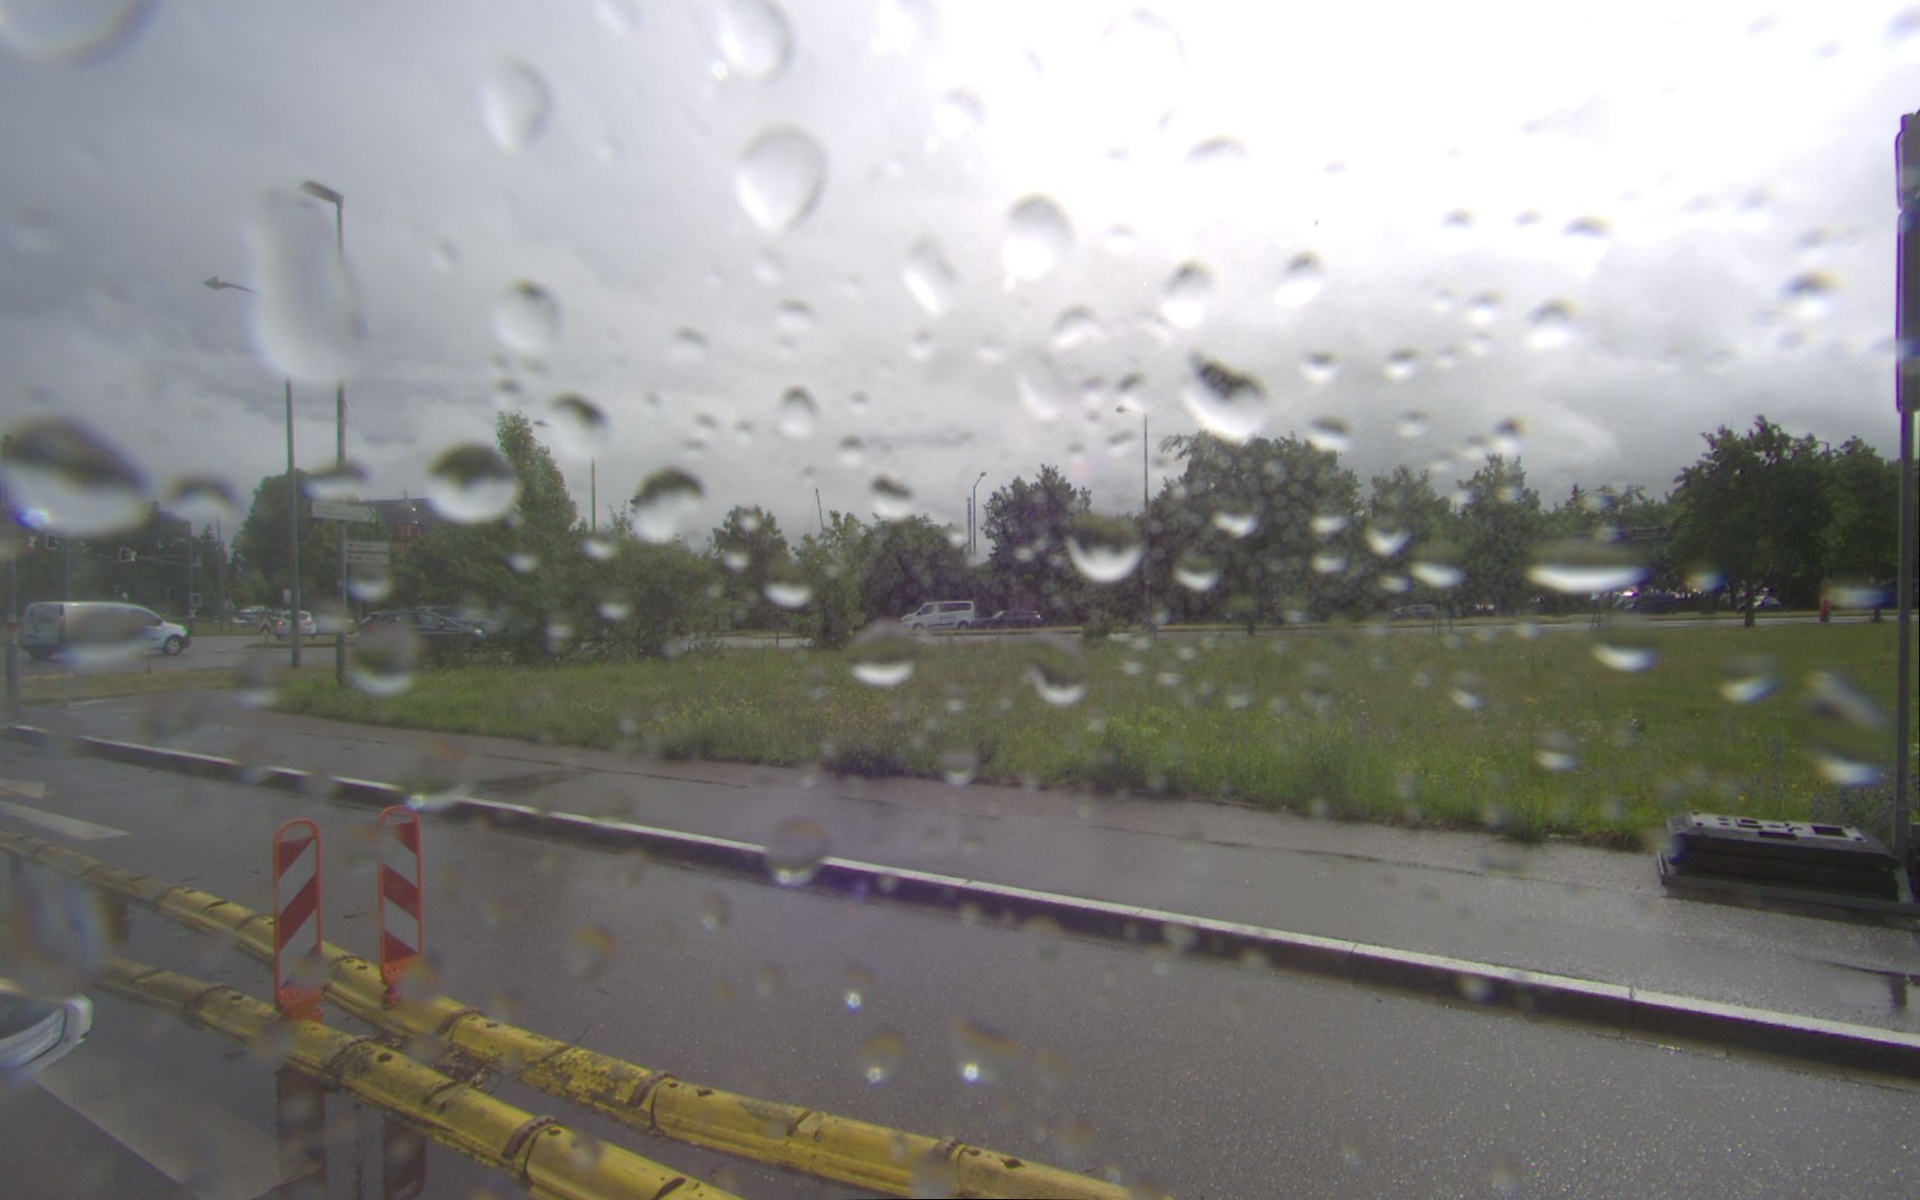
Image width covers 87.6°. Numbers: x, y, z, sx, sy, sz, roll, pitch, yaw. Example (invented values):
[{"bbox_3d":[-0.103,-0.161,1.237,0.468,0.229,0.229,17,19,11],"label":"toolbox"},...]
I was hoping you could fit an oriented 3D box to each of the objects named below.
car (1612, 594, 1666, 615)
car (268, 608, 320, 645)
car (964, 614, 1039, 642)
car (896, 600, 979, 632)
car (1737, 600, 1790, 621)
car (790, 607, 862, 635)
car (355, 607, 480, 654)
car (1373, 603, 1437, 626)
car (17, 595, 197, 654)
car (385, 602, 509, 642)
[{"bbox_3d":[52.831,0.338,77.946,3.459,1.579,1.541,0,0,-14],"label":"car"},{"bbox_3d":[-35.120,1.367,52.760,1.976,1.854,3.969,-1,0,-38],"label":"car"},{"bbox_3d":[2.522,1.688,61.362,4.226,1.581,1.911,0,0,-14],"label":"car"},{"bbox_3d":[-1.443,0.984,63.388,4.873,1.944,1.996,0,0,-16],"label":"car"},{"bbox_3d":[63.817,0.821,79.533,3.459,1.579,1.541,0,0,-14],"label":"car"},{"bbox_3d":[-7.869,1.190,58.641,4.038,1.581,1.912,0,0,-12],"label":"car"},{"bbox_3d":[-20.268,1.096,37.484,3.908,1.666,1.658,0,0,-38],"label":"car"},{"bbox_3d":[32.168,1.033,72.360,4.158,1.579,1.541,0,0,-14],"label":"car"},{"bbox_3d":[-28.329,0.785,33.460,1.835,1.833,4.402,0,-1,11],"label":"car"},{"bbox_3d":[-21.184,0.872,41.432,4.348,1.568,1.857,0,0,-36],"label":"car"}]
